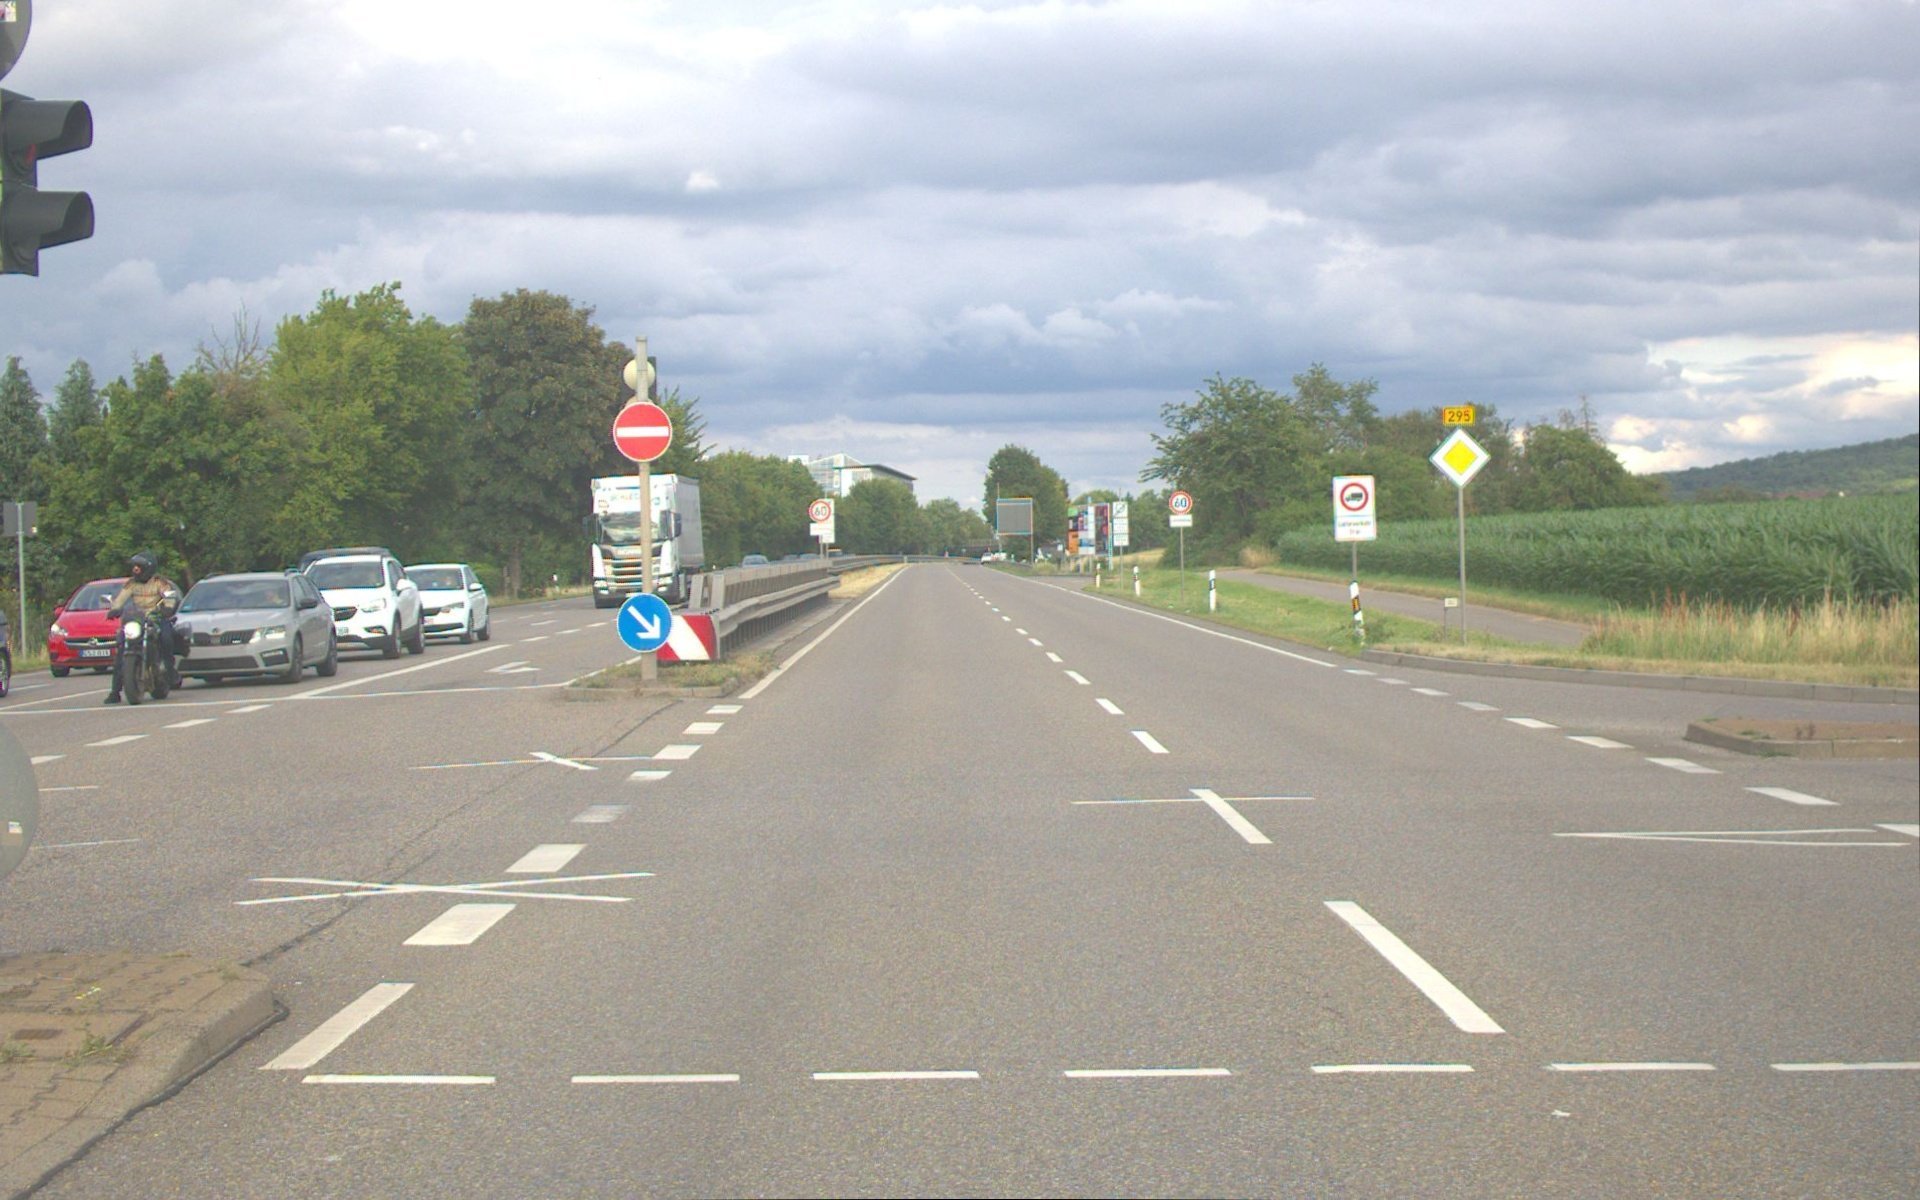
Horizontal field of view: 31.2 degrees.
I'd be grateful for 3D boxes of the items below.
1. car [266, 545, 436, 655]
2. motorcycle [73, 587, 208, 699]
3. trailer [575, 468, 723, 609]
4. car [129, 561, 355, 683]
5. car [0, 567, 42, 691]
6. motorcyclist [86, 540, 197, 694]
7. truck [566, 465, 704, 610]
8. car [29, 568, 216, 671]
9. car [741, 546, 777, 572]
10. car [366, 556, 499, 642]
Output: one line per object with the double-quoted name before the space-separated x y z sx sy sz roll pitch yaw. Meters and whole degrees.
"car" -9.585 -0.035 54.440 1.907 1.604 4.405 -2 1 -1
"motorcycle" -9.428 0.480 39.643 0.916 1.199 2.479 -2 1 0
"trailer" -9.955 -1.982 111.832 3.465 4.136 13.917 -3 1 0
"car" -9.355 0.239 45.194 1.907 1.423 5.152 -2 1 -1
"car" -12.987 0.410 42.622 1.907 1.530 4.939 -2 1 -1
"motorcyclist" -9.429 0.186 39.639 0.916 1.703 1.276 -2 0 0
"truck" -9.891 -1.901 105.237 3.474 4.136 6.050 -3 1 0
"car" -13.027 0.274 53.698 1.907 1.460 4.184 -2 1 -1
"car" -11.157 -2.293 191.249 1.789 1.381 4.161 -2 1 -1
"car" -9.572 -0.052 62.646 1.789 1.439 4.161 -2 1 -1
